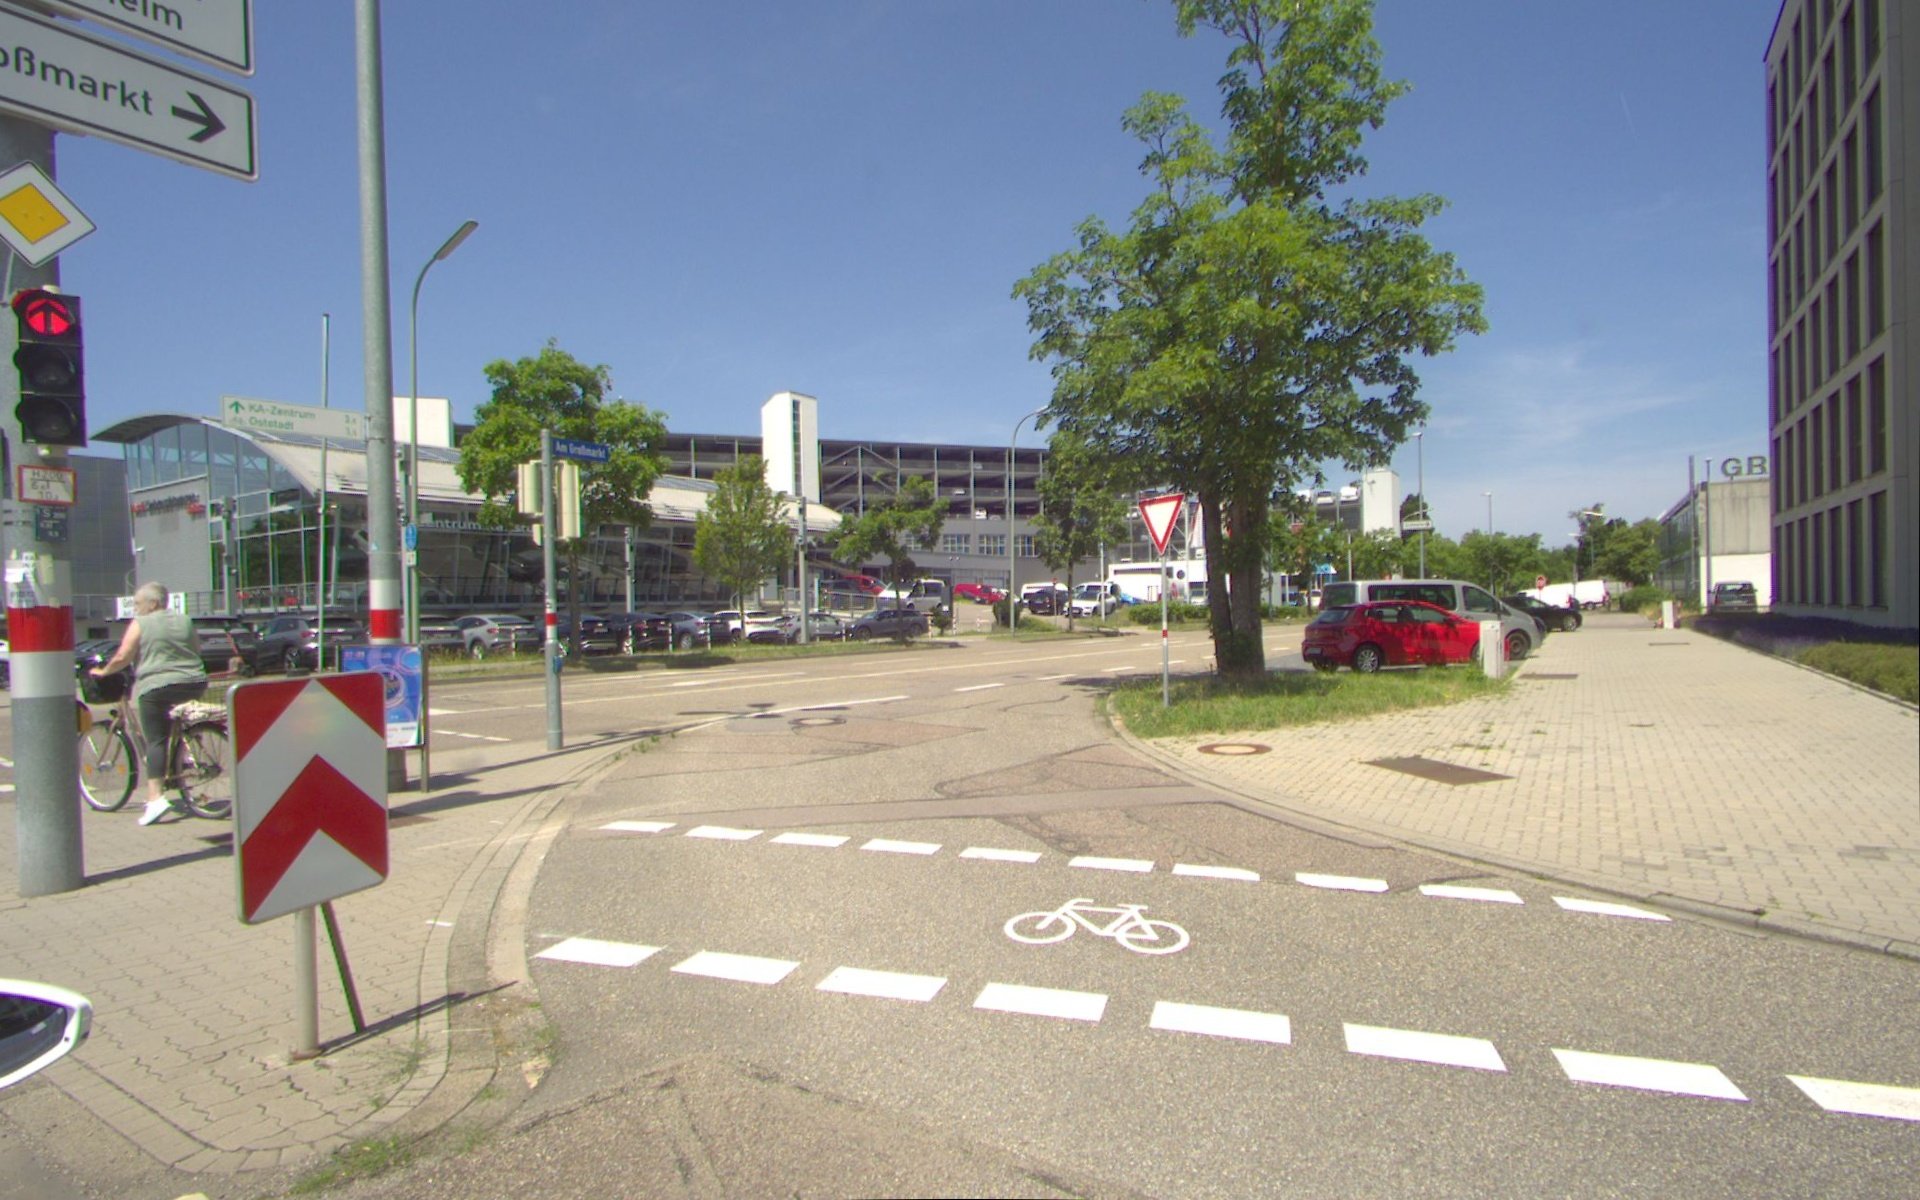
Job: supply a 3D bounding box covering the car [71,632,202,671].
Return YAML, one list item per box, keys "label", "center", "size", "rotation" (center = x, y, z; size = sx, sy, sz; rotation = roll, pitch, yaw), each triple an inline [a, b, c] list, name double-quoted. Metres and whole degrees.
- label: "car"
  center: [-34.795, 2.166, 42.408]
  size: [1.610, 1.593, 3.977]
  rotation: [-1, -3, 32]

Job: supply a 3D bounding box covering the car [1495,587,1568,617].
- label: "car"
  center: [41.489, 0.208, 72.695]
  size: [4.513, 2.039, 1.990]
  rotation: [-1, -2, 33]

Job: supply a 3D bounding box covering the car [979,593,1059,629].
- label: "car"
  center: [3.006, 0.551, 50.301]
  size: [1.888, 1.717, 4.560]
  rotation: [-1, 0, 35]

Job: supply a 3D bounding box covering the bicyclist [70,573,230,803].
- label: "bicyclist"
  center: [-6.096, 0.639, 7.549]
  size: [0.812, 1.626, 0.628]
  rotation: [-1, -1, 23]

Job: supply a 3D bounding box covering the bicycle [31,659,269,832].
- label: "bicycle"
  center: [-6.136, 1.041, 7.571]
  size: [1.863, 1.147, 0.628]
  rotation: [0, -1, 24]

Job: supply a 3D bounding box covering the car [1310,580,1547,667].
- label: "car"
  center: [10.872, 0.513, 23.354]
  size: [4.841, 1.911, 1.918]
  rotation: [0, 0, -12]

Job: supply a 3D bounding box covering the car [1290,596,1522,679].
- label: "car"
  center: [8.920, 0.728, 20.172]
  size: [3.923, 1.451, 1.699]
  rotation: [-2, -1, -7]

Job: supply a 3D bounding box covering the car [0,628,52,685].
- label: "car"
  center: [-25.164, 1.374, 24.103]
  size: [1.843, 1.407, 4.583]
  rotation: [-2, -3, 34]

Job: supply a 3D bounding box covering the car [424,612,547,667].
- label: "car"
  center: [-15.055, 1.202, 31.773]
  size: [3.758, 1.637, 1.635]
  rotation: [0, 0, 28]

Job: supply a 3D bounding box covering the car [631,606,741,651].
- label: "car"
  center: [-10.637, 1.136, 38.890]
  size: [3.937, 1.675, 1.844]
  rotation: [-1, -3, 28]

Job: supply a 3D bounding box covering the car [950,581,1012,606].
- label: "car"
  center: [1.649, -0.497, 78.018]
  size: [4.525, 1.821, 1.903]
  rotation: [-1, 0, 34]

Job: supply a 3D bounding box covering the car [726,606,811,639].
- label: "car"
  center: [-9.849, 1.145, 51.605]
  size: [3.938, 1.591, 1.842]
  rotation: [-1, 0, -28]

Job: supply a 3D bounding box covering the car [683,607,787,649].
- label: "car"
  center: [-9.274, 1.177, 41.183]
  size: [3.937, 1.675, 1.844]
  rotation: [-1, -3, 28]

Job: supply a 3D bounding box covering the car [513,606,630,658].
- label: "car"
  center: [-13.224, 1.082, 34.052]
  size: [3.851, 1.676, 1.627]
  rotation: [-1, -1, 28]

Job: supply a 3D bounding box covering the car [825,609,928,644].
- label: "car"
  center: [-3.939, 1.236, 47.678]
  size: [4.554, 1.491, 1.839]
  rotation: [-2, 1, -34]

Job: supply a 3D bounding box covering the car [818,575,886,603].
- label: "car"
  center: [-7.149, -0.717, 66.439]
  size: [4.082, 1.745, 1.907]
  rotation: [-1, 0, 25]

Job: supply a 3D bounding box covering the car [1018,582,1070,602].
- label: "car"
  center: [7.729, -0.723, 92.250]
  size: [4.294, 1.674, 1.904]
  rotation: [-1, 0, 31]

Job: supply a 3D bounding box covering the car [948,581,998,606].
- label: "car"
  center: [0.982, -0.451, 74.534]
  size: [1.859, 1.728, 3.977]
  rotation: [-1, -1, 33]

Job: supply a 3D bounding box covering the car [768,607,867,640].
- label: "car"
  center: [-7.048, 1.157, 49.702]
  size: [4.527, 1.491, 1.902]
  rotation: [-1, 0, -34]

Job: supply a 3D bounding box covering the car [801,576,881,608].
- label: "car"
  center: [-6.677, -0.432, 56.576]
  size: [1.888, 1.730, 4.560]
  rotation: [-1, 0, 35]

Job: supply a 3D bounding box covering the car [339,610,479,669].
- label: "car"
  center: [-16.516, 1.198, 30.017]
  size: [3.937, 1.675, 1.844]
  rotation: [-1, -3, 28]

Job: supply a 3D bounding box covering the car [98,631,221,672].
- label: "car"
  center: [-32.951, 2.120, 41.313]
  size: [1.619, 1.600, 3.642]
  rotation: [-1, -3, 32]

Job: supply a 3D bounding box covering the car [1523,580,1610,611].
- label: "car"
  center: [54.679, -0.336, 90.299]
  size: [6.606, 2.552, 2.206]
  rotation: [-1, -2, 35]

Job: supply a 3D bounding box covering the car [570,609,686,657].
- label: "car"
  center: [-12.132, 1.229, 36.559]
  size: [3.937, 1.675, 1.844]
  rotation: [-1, -3, 28]

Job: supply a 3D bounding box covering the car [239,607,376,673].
- label: "car"
  center: [-17.949, 1.111, 27.504]
  size: [3.946, 1.675, 1.840]
  rotation: [-2, -3, 35]

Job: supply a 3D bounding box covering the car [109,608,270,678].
- label: "car"
  center: [-19.536, 1.111, 25.339]
  size: [4.442, 1.578, 1.863]
  rotation: [-3, 0, 33]

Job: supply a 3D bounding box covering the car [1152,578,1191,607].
- label: "car"
  center: [16.457, -0.533, 77.772]
  size: [1.812, 2.039, 3.981]
  rotation: [-1, -2, 31]

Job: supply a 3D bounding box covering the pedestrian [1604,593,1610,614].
- label: "pedestrian"
  center: [49.300, 0.286, 76.278]
  size: [0.399, 1.580, 0.546]
  rotation: [-1, 1, 33]

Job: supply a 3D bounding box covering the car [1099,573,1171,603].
- label: "car"
  center: [12.003, -0.783, 68.863]
  size: [4.521, 1.912, 1.904]
  rotation: [-1, 0, 31]

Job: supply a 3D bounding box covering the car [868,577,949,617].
- label: "car"
  center: [-2.699, -0.162, 53.933]
  size: [1.885, 1.992, 5.228]
  rotation: [-1, 0, 29]

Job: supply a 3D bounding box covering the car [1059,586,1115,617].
- label: "car"
  center: [7.652, 0.136, 60.210]
  size: [1.970, 1.727, 3.983]
  rotation: [-1, -2, 30]

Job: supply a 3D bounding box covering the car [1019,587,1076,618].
- label: "car"
  center: [5.398, 0.180, 61.279]
  size: [1.970, 1.727, 3.983]
  rotation: [-1, -2, 30]

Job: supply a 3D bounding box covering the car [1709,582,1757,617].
- label: "car"
  center: [42.217, 0.015, 54.751]
  size: [1.772, 1.750, 3.978]
  rotation: [-1, -2, 34]

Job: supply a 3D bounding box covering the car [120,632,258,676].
- label: "car"
  center: [-30.150, 2.105, 39.285]
  size: [1.633, 1.642, 3.980]
  rotation: [-1, -3, 32]
